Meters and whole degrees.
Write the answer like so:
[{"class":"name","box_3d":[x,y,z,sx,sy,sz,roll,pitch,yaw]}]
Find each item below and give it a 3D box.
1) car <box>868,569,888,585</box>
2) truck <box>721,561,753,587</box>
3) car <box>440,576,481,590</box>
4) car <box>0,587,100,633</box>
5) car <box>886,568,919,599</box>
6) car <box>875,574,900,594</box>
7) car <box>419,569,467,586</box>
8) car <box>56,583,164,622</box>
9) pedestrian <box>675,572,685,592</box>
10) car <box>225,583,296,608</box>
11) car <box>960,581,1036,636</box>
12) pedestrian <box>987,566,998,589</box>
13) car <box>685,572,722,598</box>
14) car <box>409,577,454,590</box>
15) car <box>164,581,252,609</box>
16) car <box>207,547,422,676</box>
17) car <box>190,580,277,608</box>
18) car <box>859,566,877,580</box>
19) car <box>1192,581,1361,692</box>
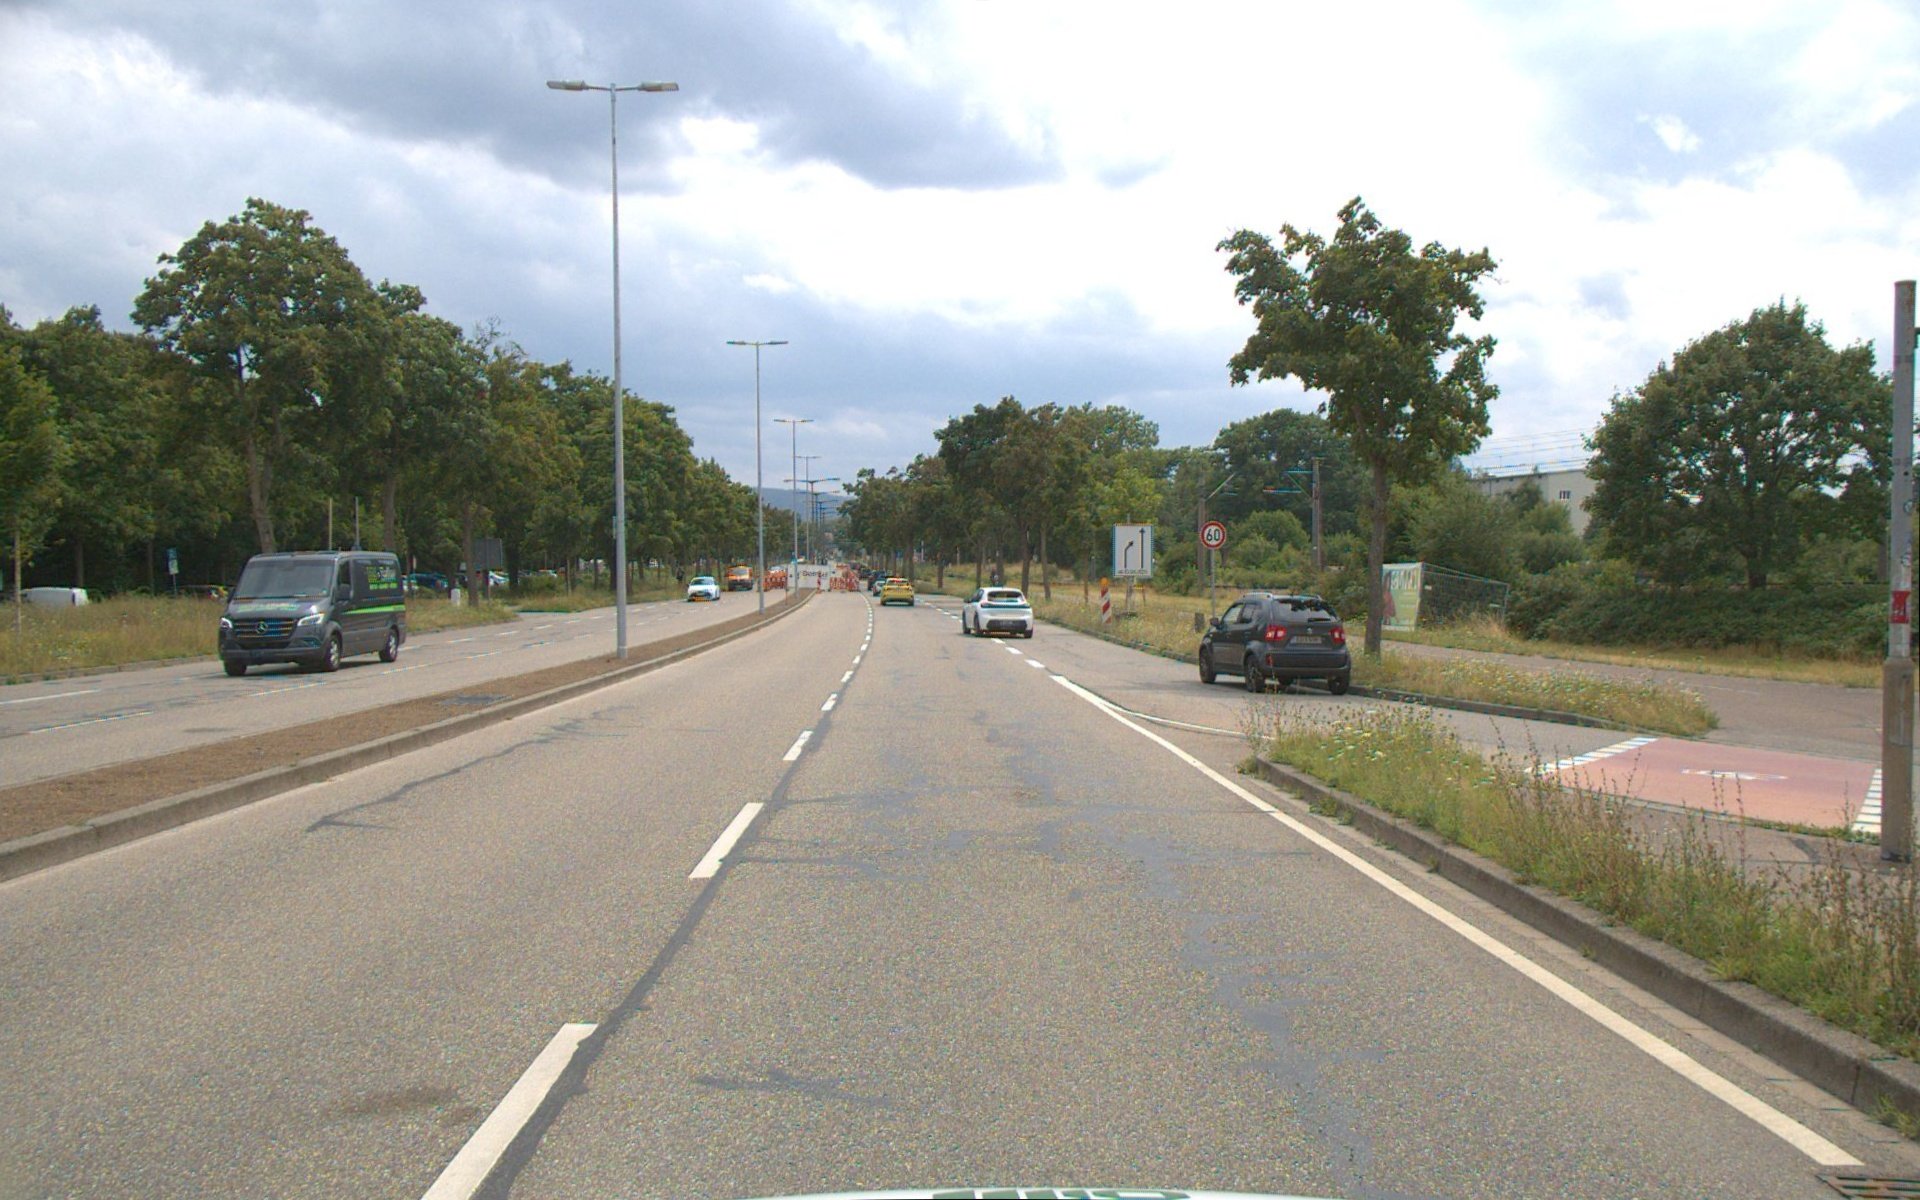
[{"class":"car","box_3d":[-6.921,-1.915,139.169,1.633,1.292,3.999,0,2,-2]},{"class":"truck","box_3d":[-18.876,-2.220,140.237,2.047,2.029,6.036,-2,2,-3]},{"class":"car","box_3d":[-45.600,-1.536,151.134,3.299,1.253,1.441,0,1,-3]},{"class":"car","box_3d":[-39.352,0.414,70.928,3.908,1.920,1.938,0,1,-4]},{"class":"car","box_3d":[-3.100,-0.921,89.262,1.757,1.589,3.999,0,2,-2]},{"class":"car","box_3d":[-4.790,-1.081,109.617,1.633,1.292,3.999,0,2,-2]},{"class":"car","box_3d":[-46.118,-2.002,147.534,3.696,1.450,1.966,0,2,-1]},{"class":"car","box_3d":[-39.489,0.106,76.929,3.908,1.743,2.045,0,1,-4]},{"class":"pedestrian","box_3d":[-26.053,-1.697,153.892,0.682,1.870,0.646,-1,1,-25]},{"class":"car","box_3d":[-41.752,-0.293,98.818,3.575,1.436,1.517,0,1,-2]},{"class":"car","box_3d":[1.100,0.228,49.596,1.733,1.489,3.995,0,2,-7]},{"class":"pedestrian","box_3d":[2.486,-1.719,125.337,0.677,1.724,0.932,0,1,-8]},{"class":"car","box_3d":[-15.643,-0.905,101.053,1.682,1.444,4.158,-2,2,-2]},{"class":"car","box_3d":[-44.044,-1.376,137.922,3.299,1.113,1.441,0,2,-3]},{"class":"car","box_3d":[-41.228,-0.288,90.729,3.906,1.474,2.000,0,2,-1]},{"class":"car","box_3d":[-12.501,0.153,32.525,2.053,2.239,6.001,-1,1,-3]},{"class":"car","box_3d":[-41.335,-0.332,94.115,4.096,1.524,1.885,0,2,-2]},{"class":"car","box_3d":[-11.846,-3.532,213.530,2.161,1.713,4.000,0,2,-1]},{"class":"car","box_3d":[5.278,0.558,28.104,1.671,1.697,3.995,1,1,-7]}]
